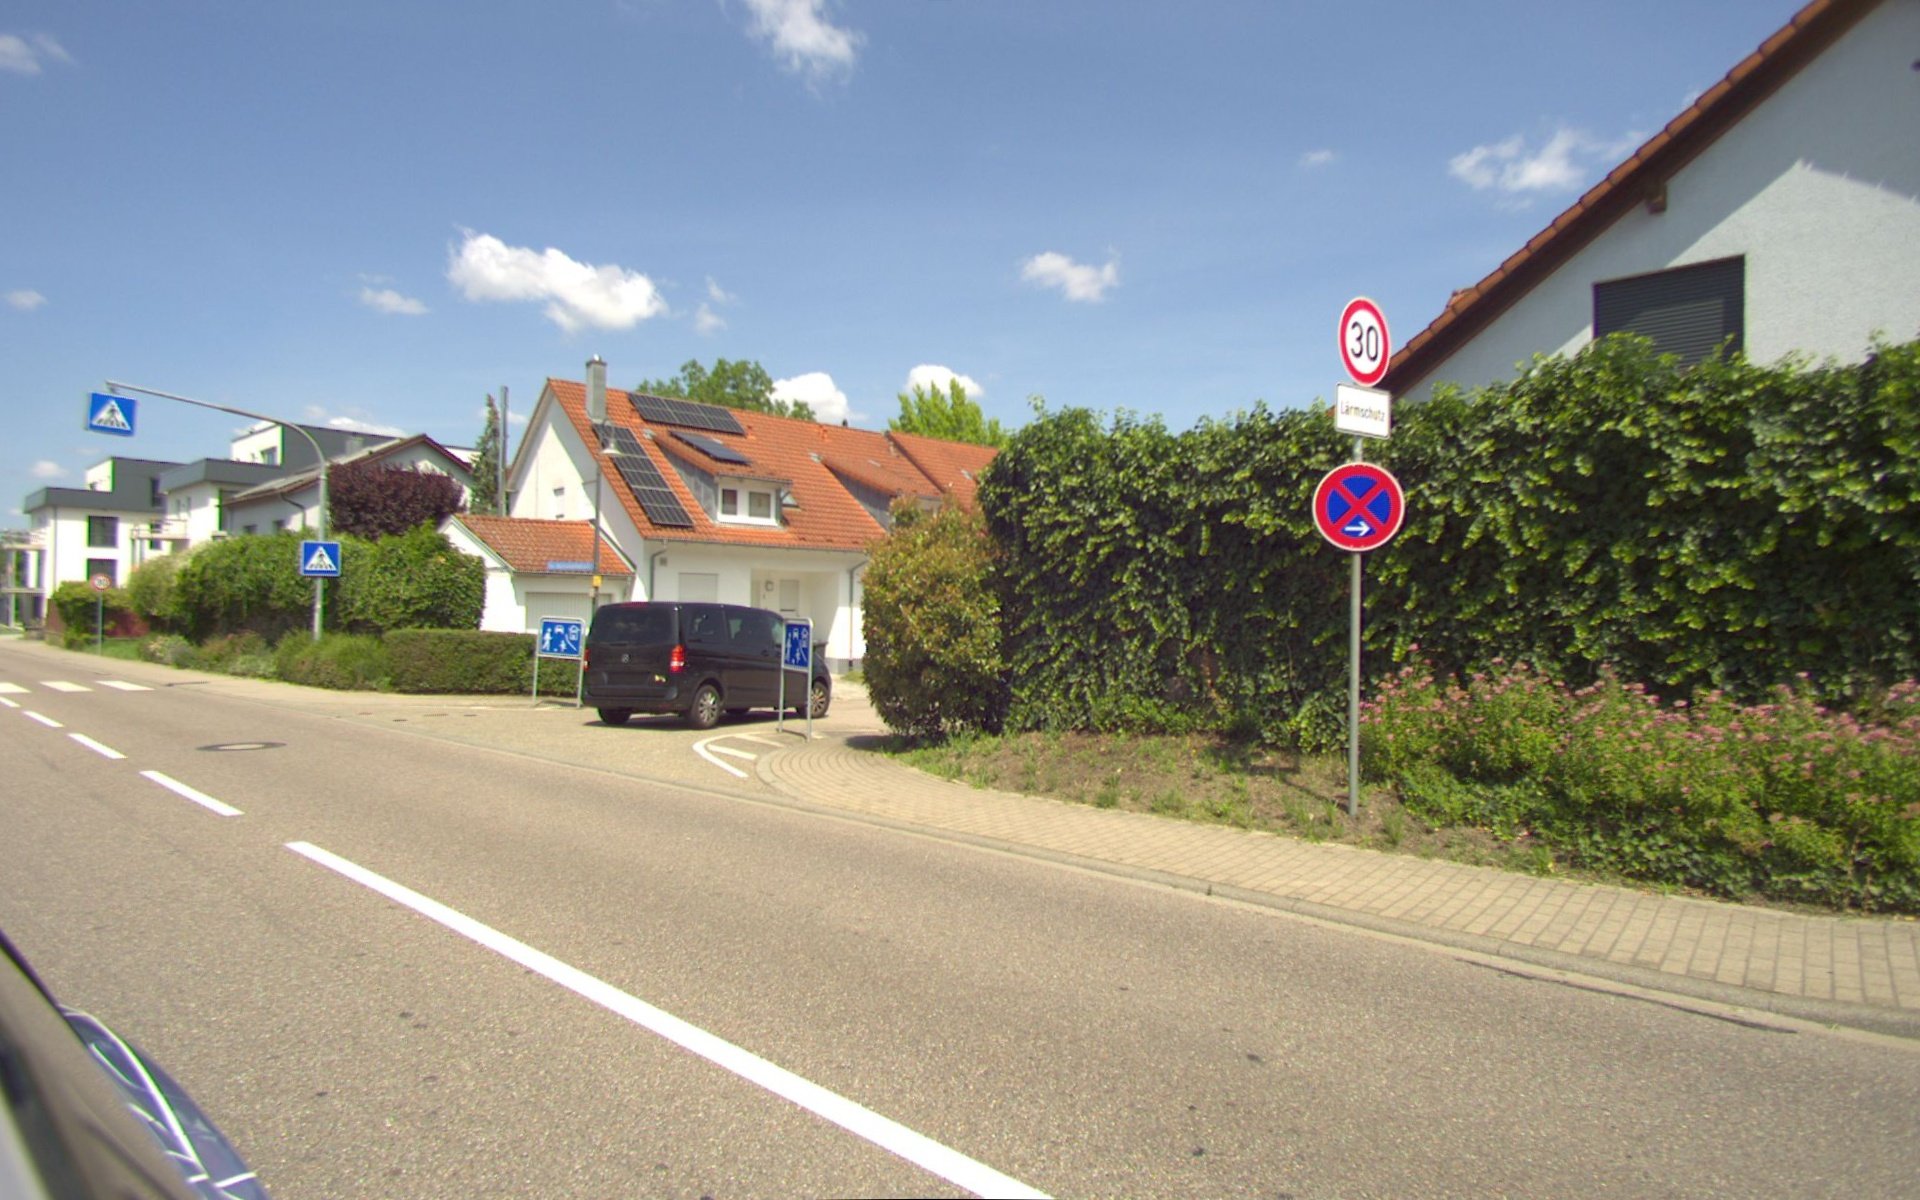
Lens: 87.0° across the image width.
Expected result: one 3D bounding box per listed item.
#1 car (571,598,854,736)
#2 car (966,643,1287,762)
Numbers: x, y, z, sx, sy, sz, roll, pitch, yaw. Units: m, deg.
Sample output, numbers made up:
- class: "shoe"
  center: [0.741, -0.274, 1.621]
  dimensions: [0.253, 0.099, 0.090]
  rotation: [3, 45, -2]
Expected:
- class: "car"
  center: [-3.747, 1.005, 16.486]
  dimensions: [1.985, 1.866, 5.035]
  rotation: [0, -2, 20]
- class: "car"
  center: [2.098, 1.277, 13.507]
  dimensions: [4.001, 1.295, 1.642]
  rotation: [-1, -4, 44]
